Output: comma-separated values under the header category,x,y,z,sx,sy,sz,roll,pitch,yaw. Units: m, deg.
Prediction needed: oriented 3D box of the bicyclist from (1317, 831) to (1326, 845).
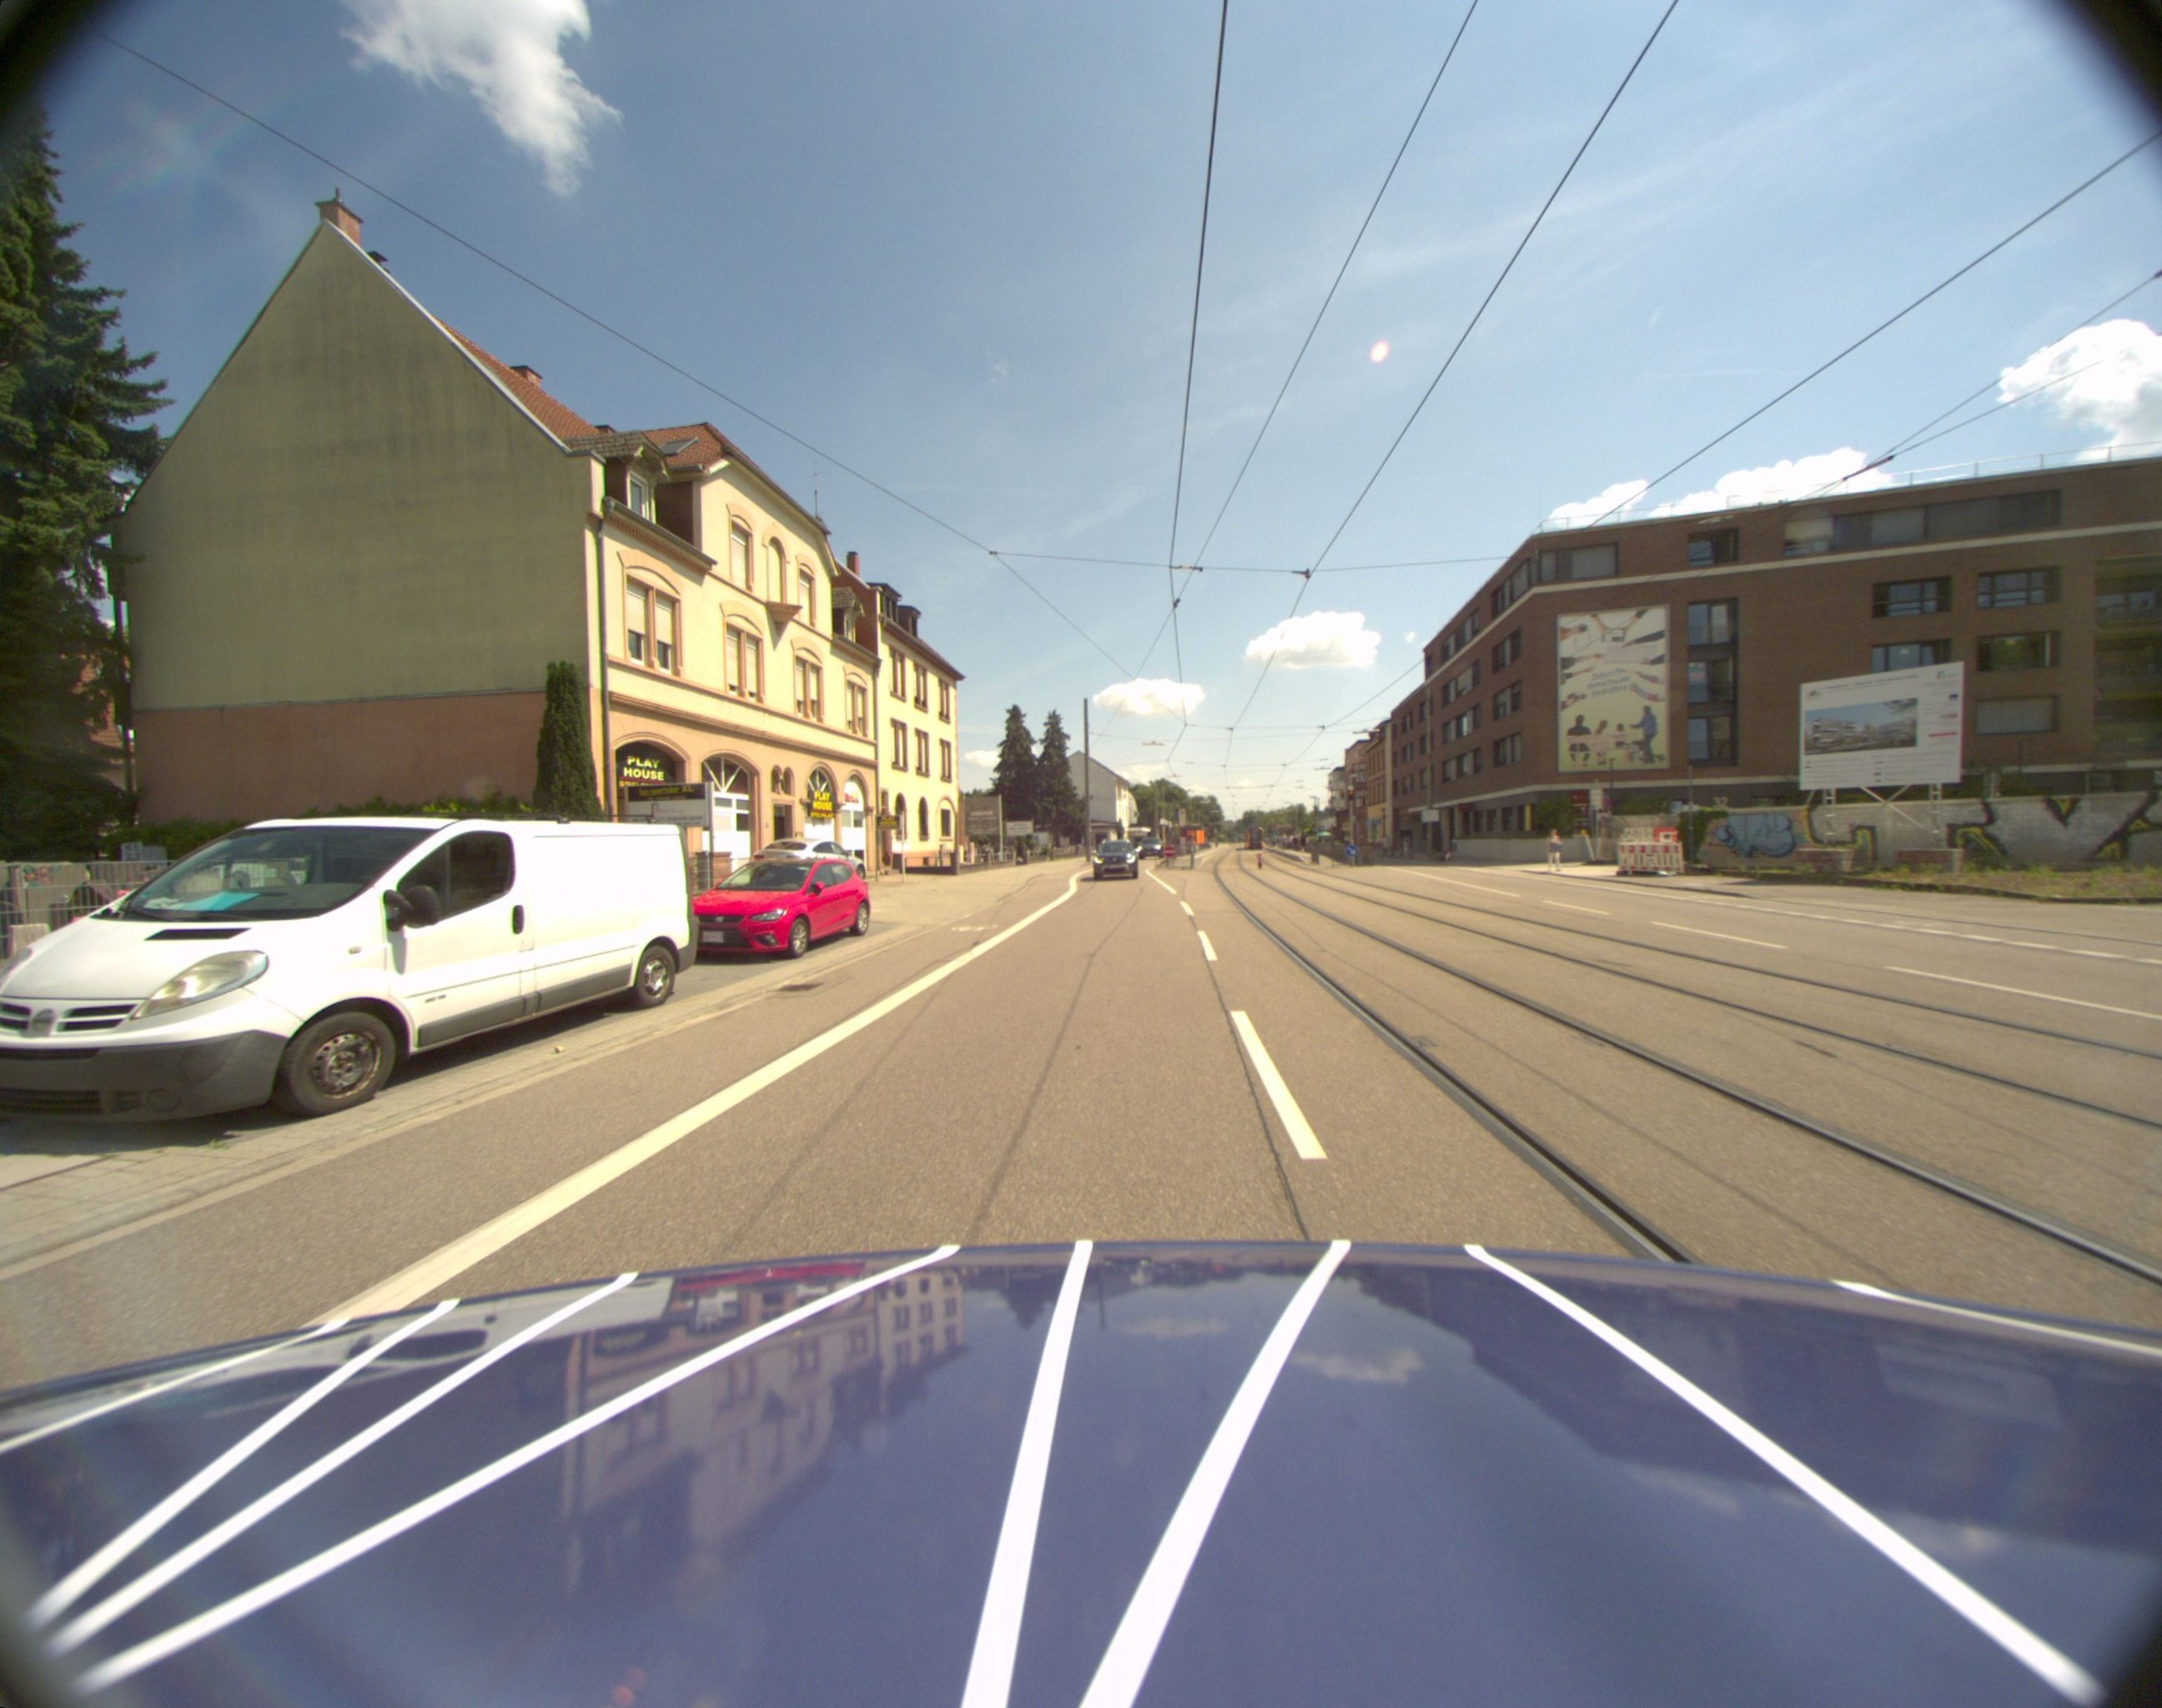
category,x,y,z,sx,sy,sz,roll,pitch,yaw
bicyclist,26.841,-1.797,84.859,0.760,1.496,1.066,-1,2,6

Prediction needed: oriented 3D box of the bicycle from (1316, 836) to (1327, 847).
category,x,y,z,sx,sy,sz,roll,pitch,yaw
bicycle,26.883,-1.407,84.864,0.818,1.216,2.390,0,1,8

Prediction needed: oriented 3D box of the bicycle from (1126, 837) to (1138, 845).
category,x,y,z,sx,sy,sz,roll,pitch,yaw
bicycle,6.886,-1.800,102.953,1.534,1.080,0.430,1,2,18

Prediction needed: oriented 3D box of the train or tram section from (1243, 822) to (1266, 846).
category,x,y,z,sx,sy,sz,roll,pitch,yaw
train or tram section,27.646,-3.288,121.526,3.240,3.547,16.359,-1,2,12

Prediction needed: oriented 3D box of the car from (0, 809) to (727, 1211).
category,x,y,z,sx,sy,sz,roll,pitch,yaw
car,-5.517,0.709,6.548,1.998,1.980,5.515,1,1,4

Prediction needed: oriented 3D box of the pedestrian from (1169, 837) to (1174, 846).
category,x,y,z,sx,sy,sz,roll,pitch,yaw
pedestrian,15.899,-2.202,133.674,0.563,1.656,0.683,-1,2,35

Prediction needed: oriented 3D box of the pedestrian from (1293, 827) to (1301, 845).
category,x,y,z,sx,sy,sz,roll,pitch,yaw
pedestrian,19.832,-1.643,69.789,0.686,1.587,0.761,0,2,11

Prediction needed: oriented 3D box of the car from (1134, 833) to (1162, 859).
category,x,y,z,sx,sy,sz,roll,pitch,yaw
car,5.534,-0.663,62.323,1.997,2.002,4.001,-1,2,8

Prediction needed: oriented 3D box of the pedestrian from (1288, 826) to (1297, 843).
category,x,y,z,sx,sy,sz,roll,pitch,yaw
pedestrian,21.077,-1.905,75.820,0.761,1.685,0.809,0,2,11

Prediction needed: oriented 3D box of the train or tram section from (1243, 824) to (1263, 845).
category,x,y,z,sx,sy,sz,roll,pitch,yaw
train or tram section,31.423,-3.662,139.619,3.256,3.547,20.514,-1,2,12

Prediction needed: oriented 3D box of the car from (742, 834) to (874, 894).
category,x,y,z,sx,sy,sz,roll,pitch,yaw
car,-8.200,0.215,23.343,1.881,1.615,4.640,2,2,7

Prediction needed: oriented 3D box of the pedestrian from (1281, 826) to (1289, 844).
category,x,y,z,sx,sy,sz,roll,pitch,yaw
pedestrian,20.451,-1.869,76.187,0.761,1.789,0.952,0,2,11

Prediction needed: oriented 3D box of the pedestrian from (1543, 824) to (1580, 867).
category,x,y,z,sx,sy,sz,roll,pitch,yaw
pedestrian,18.542,-0.331,29.341,0.761,1.587,1.000,-5,1,7

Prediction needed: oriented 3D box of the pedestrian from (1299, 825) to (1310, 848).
category,x,y,z,sx,sy,sz,roll,pitch,yaw
pedestrian,17.662,-1.394,60.060,0.686,1.750,1.034,0,2,11

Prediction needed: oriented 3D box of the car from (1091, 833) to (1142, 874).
category,x,y,z,sx,sy,sz,roll,pitch,yaw
car,1.574,-0.044,31.930,1.845,1.565,4.489,-1,1,6

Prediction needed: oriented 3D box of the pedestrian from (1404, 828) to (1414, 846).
category,x,y,z,sx,sy,sz,roll,pitch,yaw
pedestrian,29.244,-1.494,67.790,0.686,1.587,0.761,0,2,11

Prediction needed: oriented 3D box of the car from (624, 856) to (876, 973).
category,x,y,z,sx,sy,sz,roll,pitch,yaw
car,-5.060,0.839,12.357,1.998,1.434,4.017,-2,1,5
